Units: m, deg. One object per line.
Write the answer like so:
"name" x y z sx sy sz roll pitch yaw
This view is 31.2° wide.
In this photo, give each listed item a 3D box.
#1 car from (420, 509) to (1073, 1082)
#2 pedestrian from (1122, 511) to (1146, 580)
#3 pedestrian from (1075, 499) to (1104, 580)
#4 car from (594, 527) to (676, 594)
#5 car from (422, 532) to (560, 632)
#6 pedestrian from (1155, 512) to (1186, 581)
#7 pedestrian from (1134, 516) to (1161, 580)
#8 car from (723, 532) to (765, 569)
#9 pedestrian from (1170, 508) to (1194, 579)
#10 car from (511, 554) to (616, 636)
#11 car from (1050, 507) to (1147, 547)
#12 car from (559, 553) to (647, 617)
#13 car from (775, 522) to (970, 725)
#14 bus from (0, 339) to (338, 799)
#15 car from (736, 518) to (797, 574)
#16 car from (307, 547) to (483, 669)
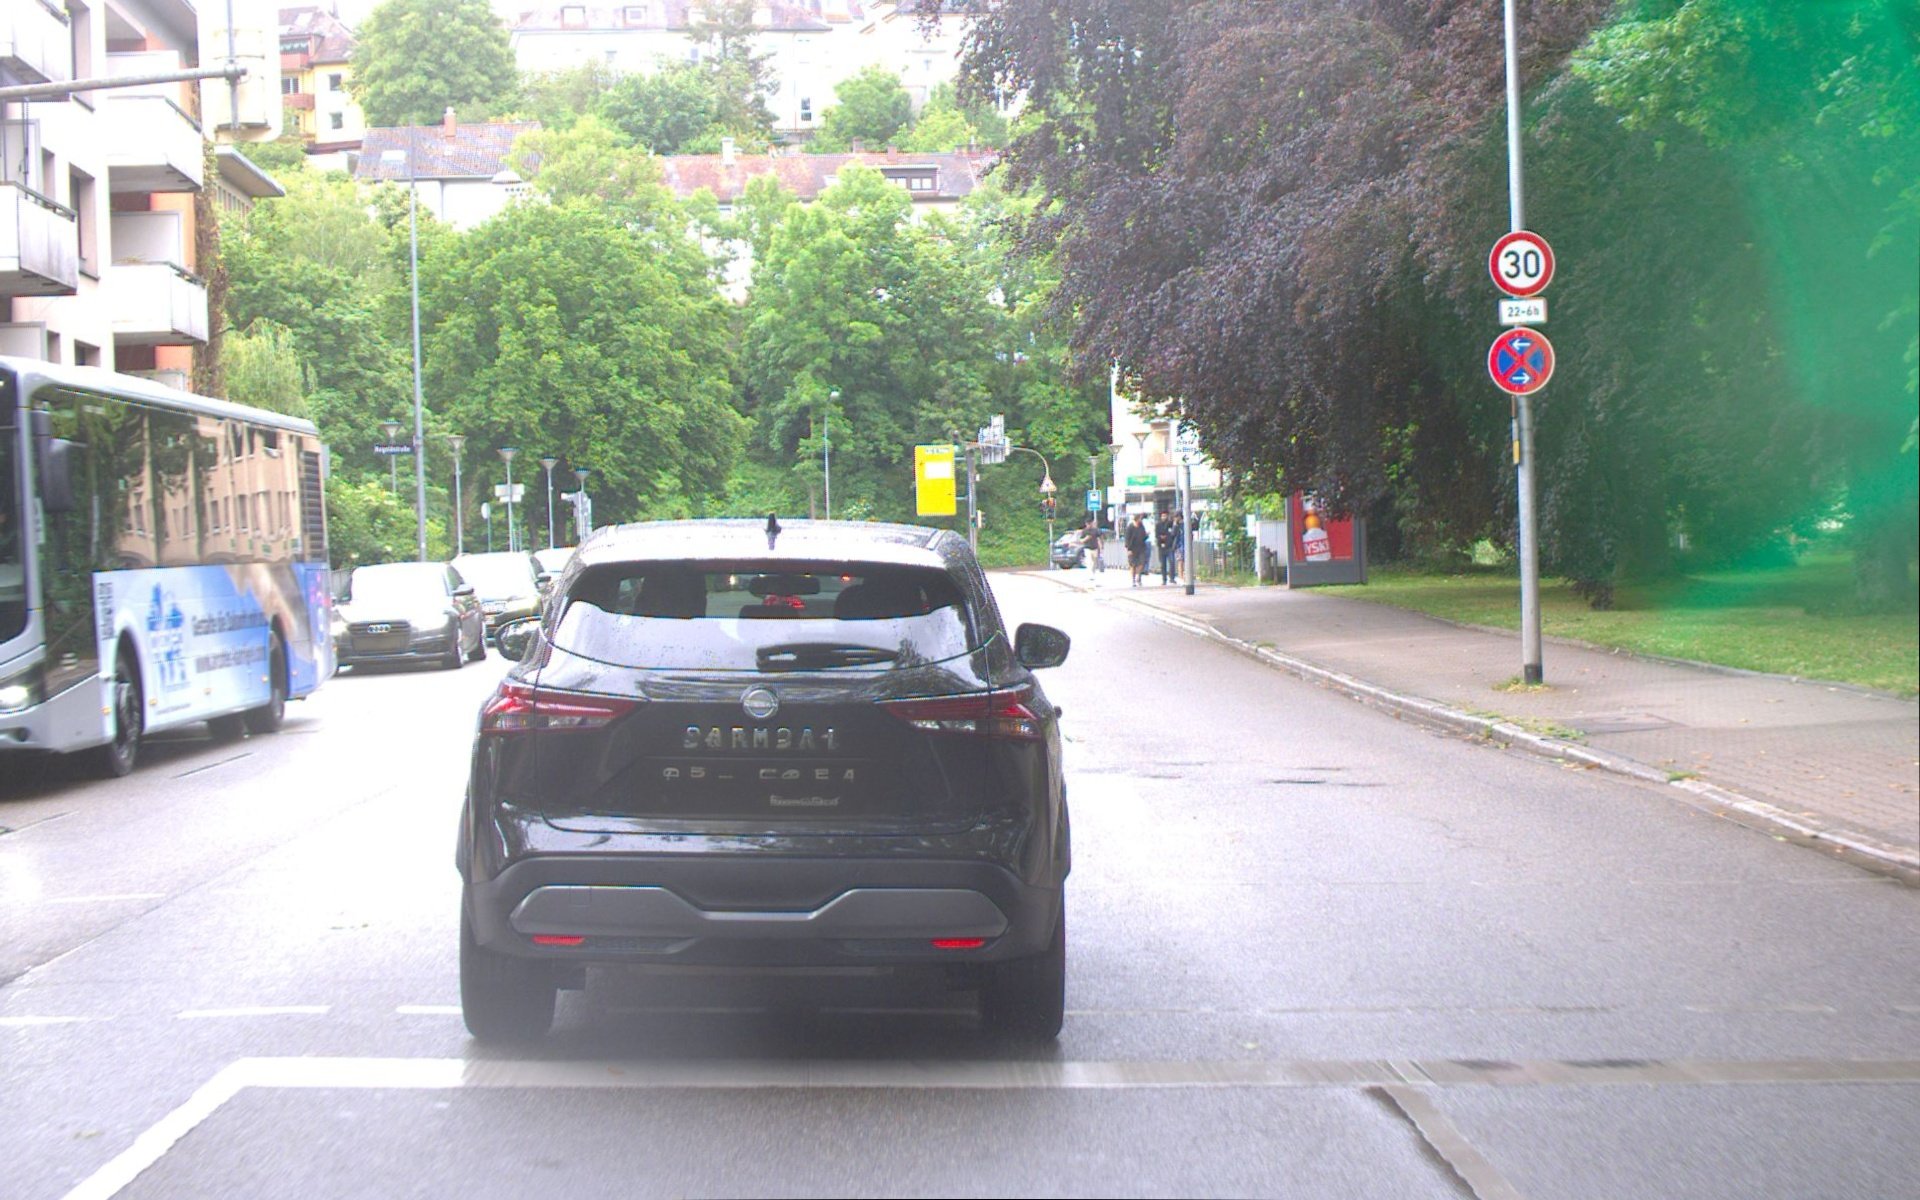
"car" -0.642 0.535 11.600 1.806 1.584 4.000 1 0 -1
"pedestrian" 4.175 -1.297 82.499 0.544 1.645 0.490 1 0 -1
"pedestrian" 3.522 -1.640 93.676 0.768 2.176 0.711 1 0 2
"car" -8.295 -1.028 88.015 1.750 1.628 3.635 -2 1 -1
"car" -7.538 -0.315 55.596 1.747 1.464 4.218 -3 1 -2
"pedestrian" 5.062 -1.289 82.677 0.699 1.645 0.628 1 0 -1
"pedestrian" 5.286 -1.481 97.012 0.618 1.773 0.778 -2 1 -1
"car" -9.195 -2.118 146.497 1.718 1.463 3.686 -2 1 -3
"pedestrian" 5.234 -1.332 81.044 0.514 1.650 0.550 1 0 -1
"car" -7.779 -0.127 67.738 1.676 1.464 4.218 -3 1 -2
"car" 6.274 -3.312 156.249 3.986 1.678 2.001 -3 1 -11
"car" -8.001 -0.361 77.202 1.676 1.291 3.752 -3 1 -2
"car" -0.756 0.172 31.800 1.622 1.703 3.771 -2 1 0
"bus" -7.442 -0.235 28.093 2.766 2.964 11.782 -2 1 -1
"car" -6.340 -1.775 112.945 1.763 1.752 3.635 -2 1 -1
"car" -7.578 0.066 46.461 1.775 1.464 4.218 -3 1 -2
